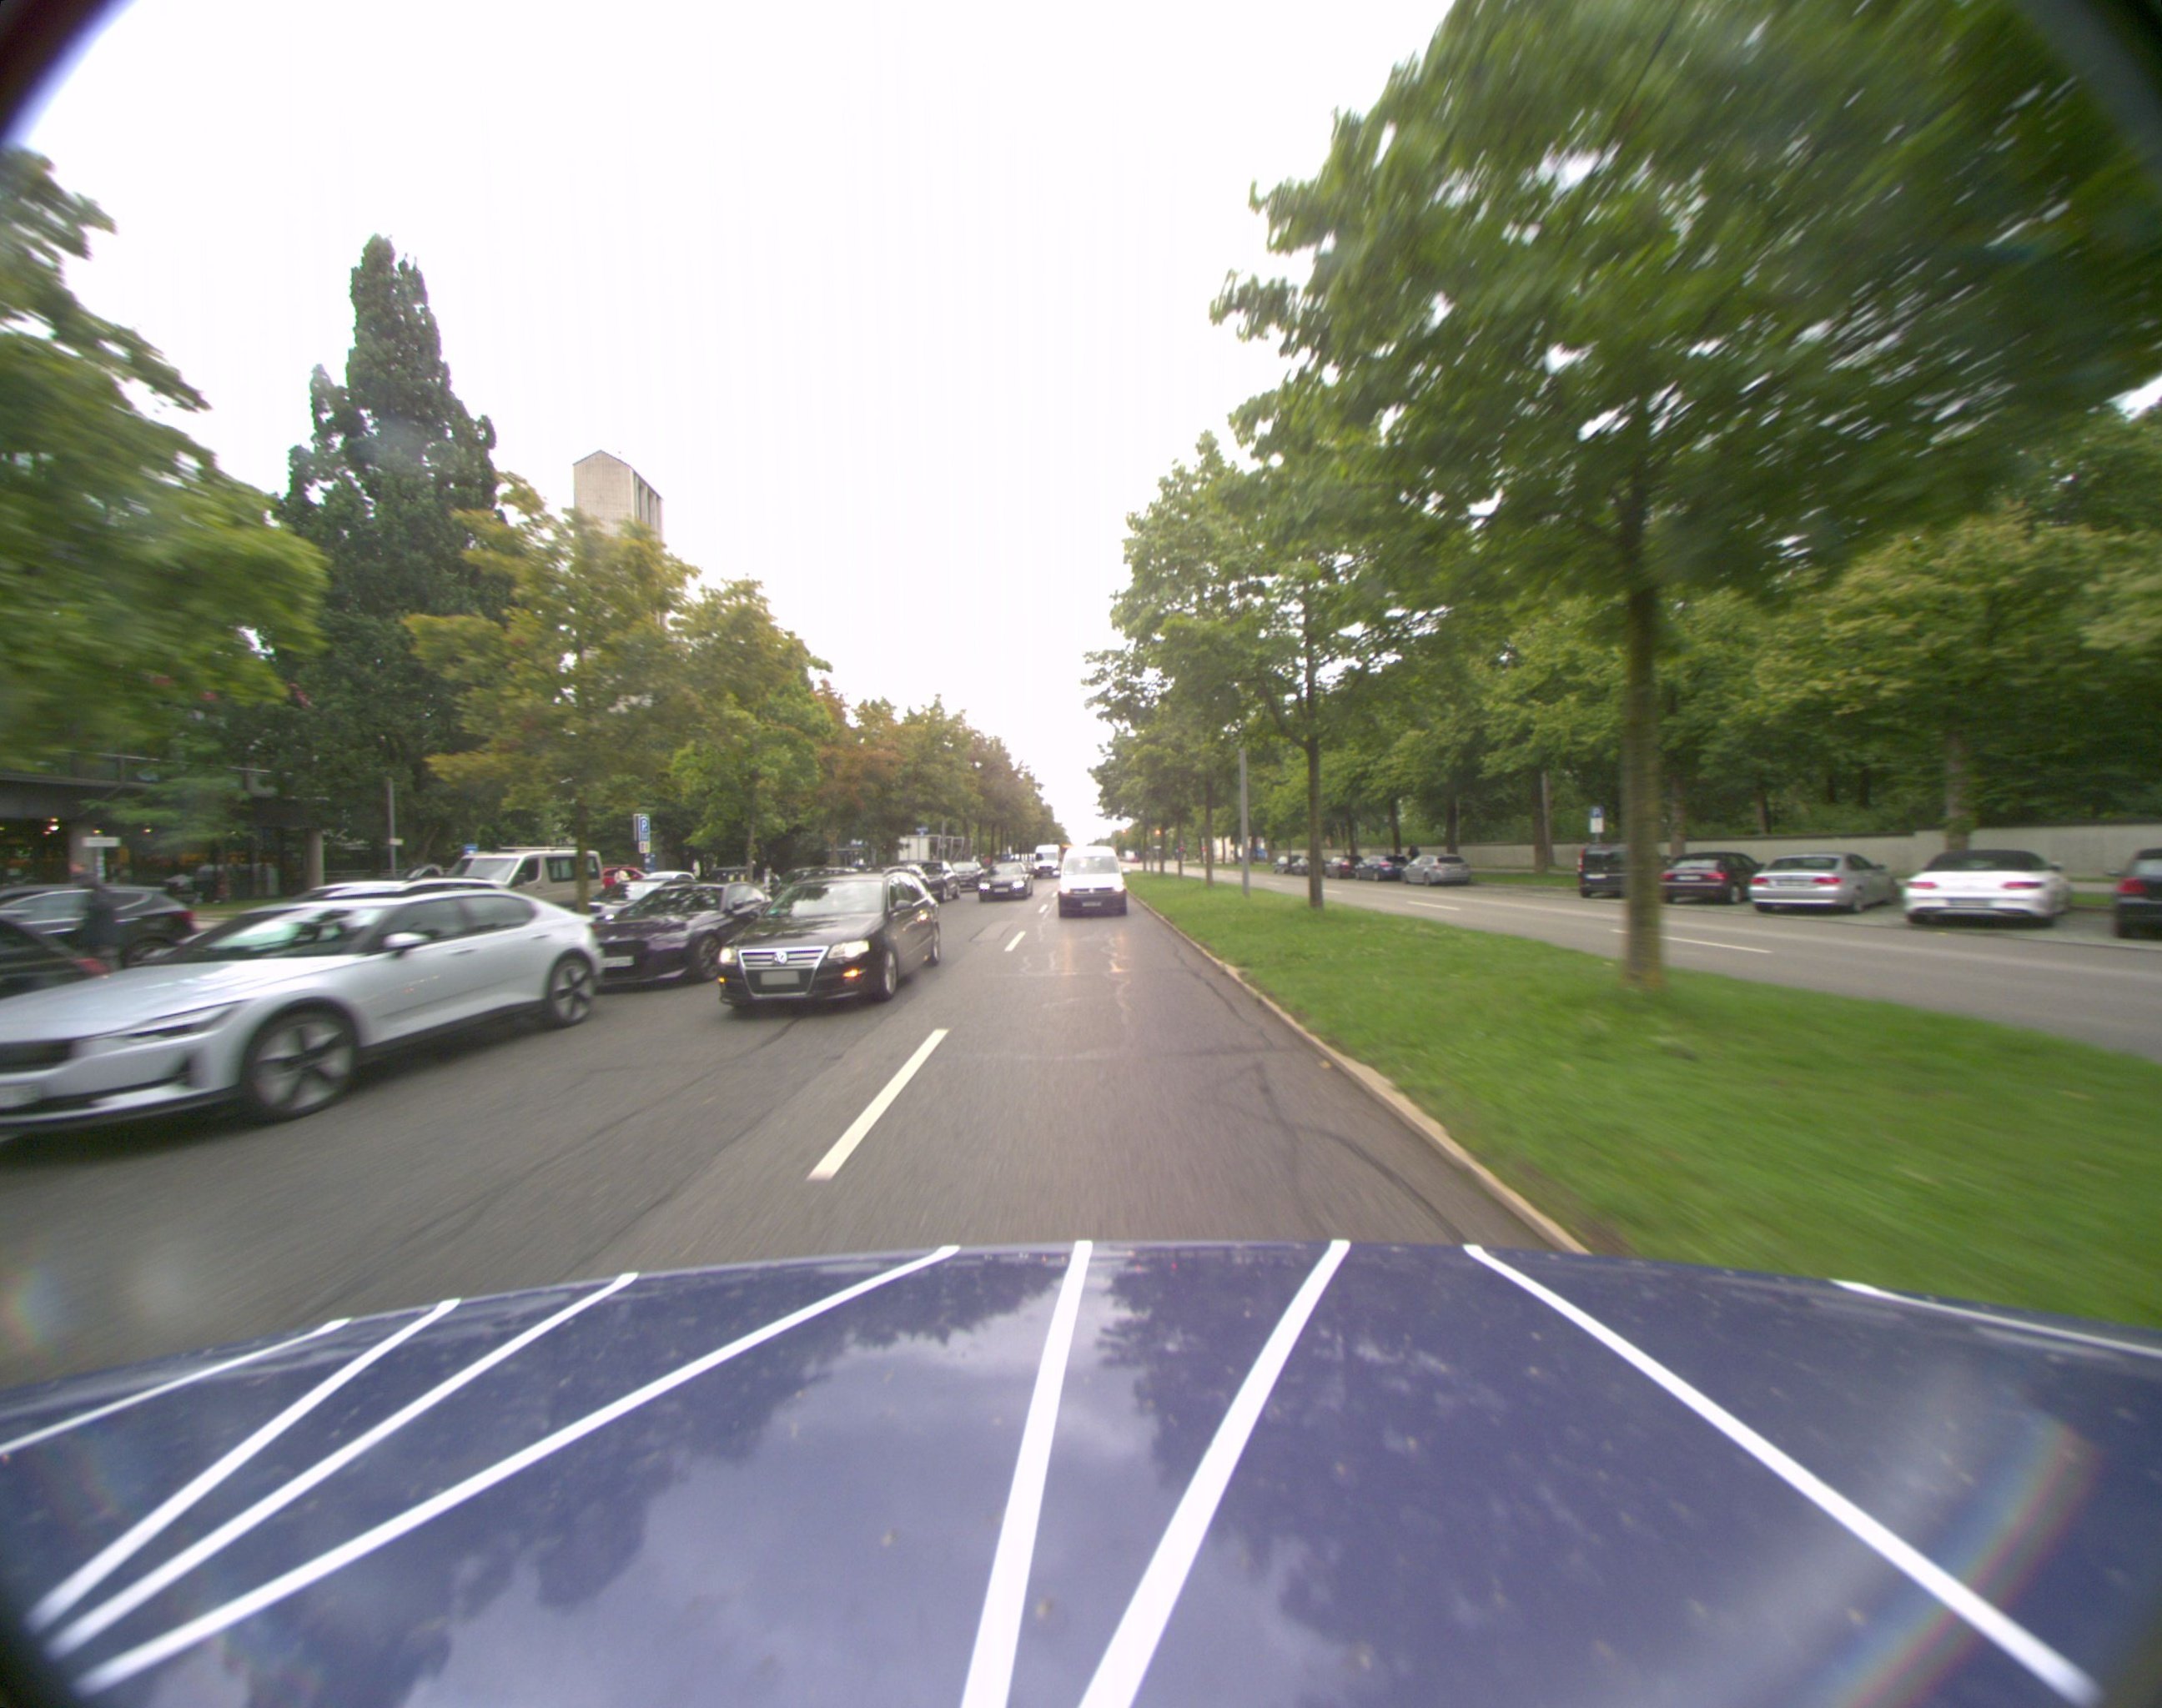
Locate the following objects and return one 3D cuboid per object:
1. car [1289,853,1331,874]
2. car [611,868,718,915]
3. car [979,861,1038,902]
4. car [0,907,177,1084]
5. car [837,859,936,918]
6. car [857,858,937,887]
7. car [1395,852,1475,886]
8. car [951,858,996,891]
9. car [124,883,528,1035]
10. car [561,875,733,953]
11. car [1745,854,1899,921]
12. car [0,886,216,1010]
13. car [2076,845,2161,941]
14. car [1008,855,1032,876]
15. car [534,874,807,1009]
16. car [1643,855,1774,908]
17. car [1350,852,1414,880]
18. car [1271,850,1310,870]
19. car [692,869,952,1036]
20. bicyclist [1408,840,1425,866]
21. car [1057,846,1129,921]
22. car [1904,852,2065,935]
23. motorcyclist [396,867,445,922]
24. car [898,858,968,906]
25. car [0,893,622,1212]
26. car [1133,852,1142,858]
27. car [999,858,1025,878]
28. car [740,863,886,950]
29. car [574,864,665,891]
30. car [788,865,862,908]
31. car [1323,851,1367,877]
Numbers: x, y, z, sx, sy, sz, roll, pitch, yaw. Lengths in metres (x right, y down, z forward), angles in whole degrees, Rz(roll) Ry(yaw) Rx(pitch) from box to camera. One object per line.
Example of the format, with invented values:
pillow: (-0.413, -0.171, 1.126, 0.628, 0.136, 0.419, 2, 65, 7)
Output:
car: (16.945, 0.671, 56.433, 1.663, 1.388, 4.706, -3, 0, 1)
car: (-16.517, 1.434, 30.374, 1.998, 1.641, 4.000, -1, 0, 1)
car: (-2.833, 1.053, 30.567, 1.819, 1.421, 4.671, -1, 0, 1)
car: (-10.294, 1.304, 5.894, 1.688, 1.445, 4.009, -2, 0, 1)
car: (-6.017, 1.008, 24.067, 1.726, 1.642, 4.390, -2, 0, 3)
car: (-11.921, 1.196, 49.467, 1.968, 1.615, 4.856, -2, 0, 38)
car: (16.745, 0.654, 36.223, 1.640, 1.430, 4.809, -3, 0, 2)
car: (-5.643, 1.045, 40.458, 1.766, 1.580, 4.452, -2, 0, -1)
car: (-10.287, 1.303, 10.889, 1.688, 1.576, 4.009, -2, 0, 1)
car: (-9.983, 1.311, 17.878, 1.752, 1.470, 4.008, -2, 0, -1)
car: (17.782, 0.730, 18.203, 4.007, 1.346, 1.846, -1, 0, -34)
car: (-16.341, 1.428, 11.529, 1.752, 1.654, 4.009, -2, 0, 1)
car: (18.353, 0.585, 12.668, 4.249, 1.414, 1.914, -1, 0, -40)
car: (-5.235, 0.954, 65.632, 1.791, 1.665, 4.595, -2, 0, -1)
car: (-5.993, 1.168, 11.834, 1.769, 1.537, 4.424, -2, 0, 0)
car: (18.246, 0.758, 22.080, 3.586, 1.346, 1.749, -2, 0, -29)
car: (16.811, 0.644, 42.720, 1.590, 1.450, 4.798, -3, 0, 0)
car: (17.119, 0.496, 62.364, 1.804, 1.481, 4.915, -3, 0, 1)
car: (-2.931, 1.015, 9.781, 1.752, 1.466, 4.670, -2, 0, -1)
bicyclist: (22.752, -0.047, 51.510, 0.707, 1.737, 0.922, -1, 1, 1)
car: (0.263, 0.723, 21.217, 1.752, 1.809, 4.670, -2, 0, -1)
car: (17.970, 0.701, 15.076, 4.050, 1.373, 1.670, -2, 0, -35)
motorcyclist: (-21.518, 1.307, 24.772, 0.693, 1.727, 0.953, 3, 1, 1)
car: (-5.877, 1.049, 30.744, 1.766, 1.691, 4.820, -2, 0, 1)
car: (-6.084, 1.224, 6.352, 1.711, 1.445, 4.511, -4, 0, -1)
car: (13.278, 0.186, 177.870, 1.747, 1.443, 4.657, 1, 0, 0)
car: (-5.395, 1.085, 59.761, 1.657, 1.425, 4.482, -2, 0, 0)
car: (-6.046, 1.101, 17.730, 1.769, 1.642, 4.424, -2, 0, 0)
car: (-22.640, 1.131, 37.379, 3.450, 1.145, 1.561, -2, 0, -3)
car: (-10.468, 1.280, 31.385, 1.768, 1.479, 3.999, -3, 0, -2)
car: (16.648, 0.600, 48.125, 1.574, 1.494, 4.304, -3, 0, 5)
